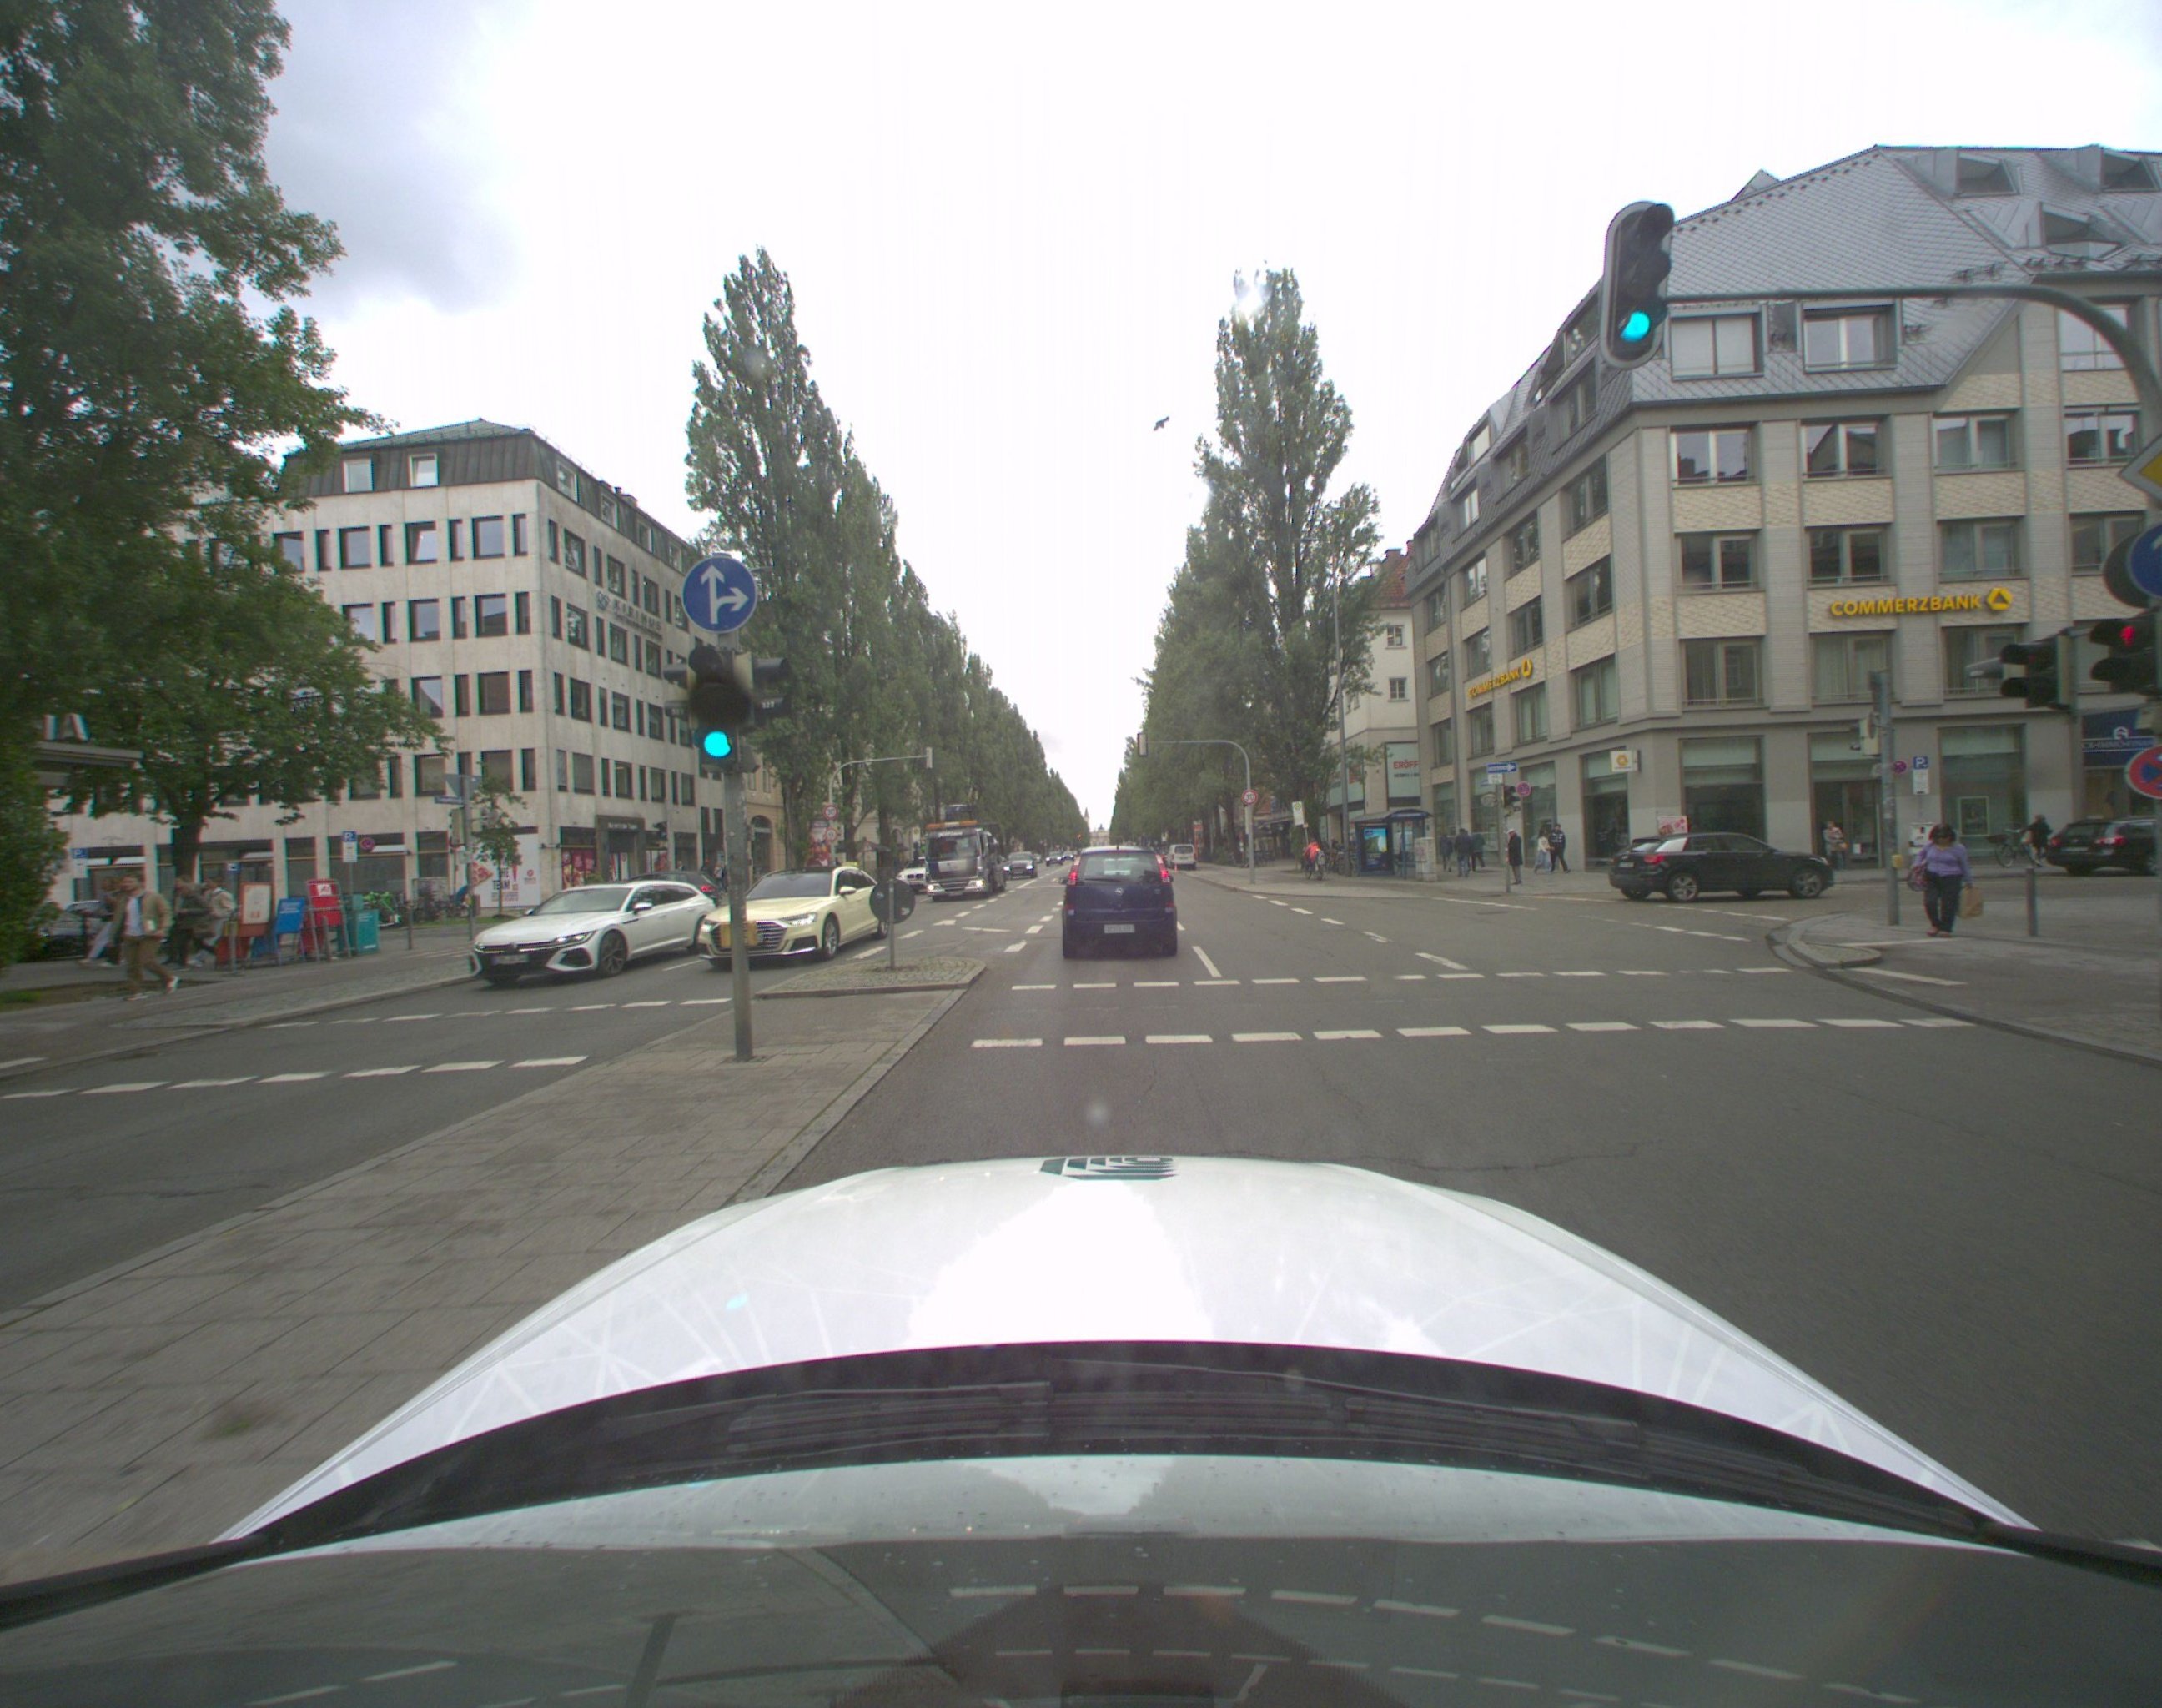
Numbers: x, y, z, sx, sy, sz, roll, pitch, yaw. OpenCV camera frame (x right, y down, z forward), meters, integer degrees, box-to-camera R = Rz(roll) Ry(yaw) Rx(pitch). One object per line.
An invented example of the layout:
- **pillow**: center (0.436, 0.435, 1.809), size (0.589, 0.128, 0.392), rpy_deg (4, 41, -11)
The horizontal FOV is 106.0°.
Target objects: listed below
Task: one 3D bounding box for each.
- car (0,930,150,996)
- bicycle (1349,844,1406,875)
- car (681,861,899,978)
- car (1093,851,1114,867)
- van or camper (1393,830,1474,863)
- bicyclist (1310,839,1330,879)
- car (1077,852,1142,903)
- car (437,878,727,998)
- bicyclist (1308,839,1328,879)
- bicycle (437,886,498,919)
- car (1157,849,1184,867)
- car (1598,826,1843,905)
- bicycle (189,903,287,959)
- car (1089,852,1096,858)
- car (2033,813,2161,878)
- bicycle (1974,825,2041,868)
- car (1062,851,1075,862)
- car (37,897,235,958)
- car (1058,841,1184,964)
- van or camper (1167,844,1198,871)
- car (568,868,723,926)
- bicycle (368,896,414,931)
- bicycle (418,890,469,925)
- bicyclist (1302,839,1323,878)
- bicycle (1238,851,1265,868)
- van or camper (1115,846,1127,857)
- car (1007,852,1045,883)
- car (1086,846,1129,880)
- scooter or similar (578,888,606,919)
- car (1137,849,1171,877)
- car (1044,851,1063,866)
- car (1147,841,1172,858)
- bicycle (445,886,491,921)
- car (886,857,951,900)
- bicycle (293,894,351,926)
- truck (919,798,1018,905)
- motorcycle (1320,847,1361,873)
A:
- **car**: center (-26.553, 2.742, 20.807), size (3.962, 1.420, 1.787), rpy_deg (-1, 0, 10)
- **bicycle**: center (12.770, 0.256, 35.083), size (2.218, 1.252, 0.480), rpy_deg (-2, 0, 25)
- **car**: center (-4.770, 0.962, 14.269), size (1.837, 1.501, 4.987), rpy_deg (-4, 0, 1)
- **car**: center (2.241, 0.447, 81.522), size (1.987, 1.497, 4.000), rpy_deg (-2, 0, 0)
- **van or camper**: center (21.234, -0.435, 49.199), size (4.085, 1.867, 1.901), rpy_deg (-1, 0, 5)
- **bicyclist**: center (9.794, 0.199, 33.338), size (0.619, 1.588, 0.391), rpy_deg (-3, 0, 0)
- **car**: center (0.933, 0.749, 27.805), size (1.987, 1.497, 4.000), rpy_deg (-3, 0, 0)
- **car**: center (-7.900, 1.228, 13.562), size (1.816, 1.408, 4.633), rpy_deg (-3, 0, 1)
- **bicyclist**: center (9.803, 0.199, 33.740), size (0.619, 1.588, 0.481), rpy_deg (-3, 0, 0)
- **bicycle**: center (-24.603, 1.942, 32.664), size (2.121, 1.249, 0.559), rpy_deg (-2, 0, 7)
- **car**: center (7.491, 0.283, 68.424), size (1.714, 1.442, 4.352), rpy_deg (-1, 0, 0)
- **car**: center (14.077, 0.239, 18.118), size (3.970, 1.461, 1.761), rpy_deg (-3, 0, 3)
- **bicycle**: center (-21.051, 1.891, 20.400), size (0.414, 1.184, 2.059), rpy_deg (-3, 0, -5)
- **car**: center (3.119, 0.285, 222.018), size (1.955, 1.399, 3.779), rpy_deg (-3, 0, 1)
- **car**: center (28.042, -0.274, 21.362), size (3.971, 1.549, 1.760), rpy_deg (-3, 0, 2)
- **bicycle**: center (28.089, -0.238, 24.684), size (1.737, 1.212, 0.447), rpy_deg (-3, 0, -9)
- **car**: center (-2.065, 0.348, 133.171), size (1.928, 1.623, 4.337), rpy_deg (-2, 0, 1)
- **car**: center (-26.570, 2.044, 22.960), size (3.962, 1.420, 1.787), rpy_deg (-3, 0, 10)
- **car**: center (0.571, 0.650, 13.219), size (1.675, 1.641, 4.000), rpy_deg (-2, 0, 0)
- **van or camper**: center (7.768, 0.254, 62.838), size (1.862, 1.883, 4.904), rpy_deg (-2, 0, 1)
- **car**: center (-13.219, 1.281, 24.912), size (3.686, 1.475, 1.770), rpy_deg (-3, 0, -5)
- **bicycle**: center (-26.559, 2.275, 31.381), size (0.450, 1.184, 2.053), rpy_deg (-3, 0, -14)
- **bicycle**: center (-24.024, 1.993, 30.741), size (0.414, 1.184, 2.029), rpy_deg (-3, 0, -5)
- **bicyclist**: center (9.807, 0.199, 34.514), size (0.619, 1.588, 0.753), rpy_deg (-3, 0, 1)
- **bicycle**: center (11.713, 0.370, 55.842), size (1.737, 1.110, 0.447), rpy_deg (-2, 0, -9)
- **van or camper**: center (9.770, -0.667, 199.353), size (2.467, 2.580, 5.847), rpy_deg (-3, 0, 2)
- **car**: center (-3.395, 0.819, 51.094), size (1.877, 1.746, 4.441), rpy_deg (-3, 0, 2)
- **car**: center (1.295, 0.414, 41.084), size (1.987, 1.497, 4.000), rpy_deg (-3, 0, 0)
- **scooter or similar**: center (-17.626, 1.781, 29.364), size (0.812, 1.093, 0.274), rpy_deg (-1, 0, -3)
- **car**: center (4.499, 0.525, 50.674), size (1.700, 1.574, 4.000), rpy_deg (-2, 0, 0)
- **car**: center (-3.242, 0.466, 96.770), size (1.906, 1.680, 4.587), rpy_deg (-2, 0, 1)
- **car**: center (7.609, -0.464, 79.219), size (1.812, 1.506, 4.229), rpy_deg (-3, 0, -2)
- **bicycle**: center (-23.107, 1.862, 30.742), size (0.414, 1.184, 1.850), rpy_deg (-2, 0, -5)
- **car**: center (-7.478, 1.095, 37.884), size (1.830, 1.716, 4.638), rpy_deg (-4, 0, 2)
- **bicycle**: center (-27.434, 2.030, 29.434), size (2.043, 1.047, 0.418), rpy_deg (-3, 0, 12)
- **truck**: center (-4.305, -0.129, 32.992), size (2.454, 3.670, 8.442), rpy_deg (-3, 0, 1)
- **motorcycle**: center (12.077, 0.280, 37.949), size (1.717, 1.139, 0.510), rpy_deg (-3, 0, 2)
